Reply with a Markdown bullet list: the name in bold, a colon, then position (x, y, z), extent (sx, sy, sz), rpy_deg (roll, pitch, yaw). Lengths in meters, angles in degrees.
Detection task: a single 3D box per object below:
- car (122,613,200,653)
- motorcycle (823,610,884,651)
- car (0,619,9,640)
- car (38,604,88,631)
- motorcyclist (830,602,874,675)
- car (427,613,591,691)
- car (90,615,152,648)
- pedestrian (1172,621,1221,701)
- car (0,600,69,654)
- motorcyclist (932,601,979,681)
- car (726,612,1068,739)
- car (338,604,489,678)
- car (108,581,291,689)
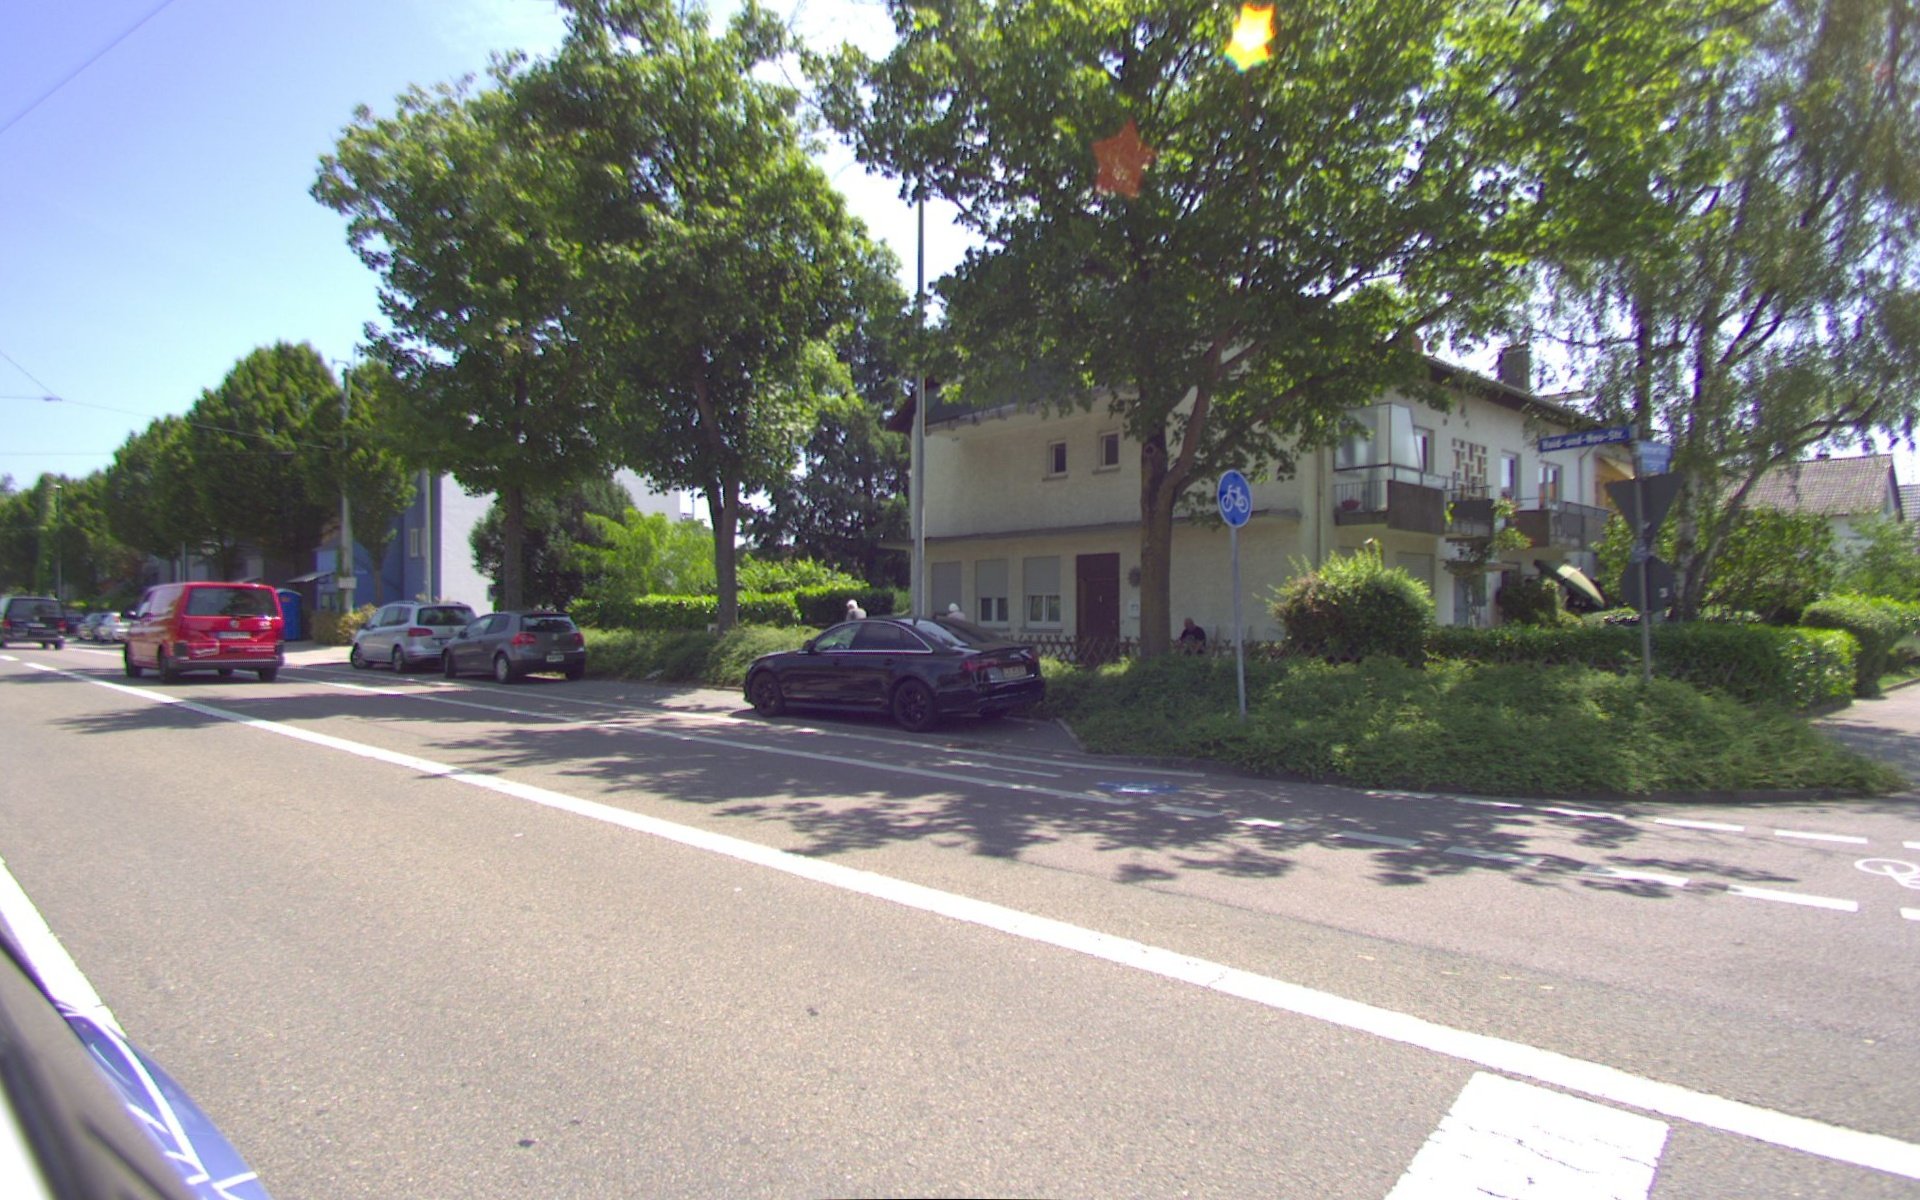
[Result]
- **car**: position (-34.194, 1.382, 43.275), extent (4.635, 1.507, 1.659), rpy_deg (-1, 2, 40)
- **motorcycle**: position (-2.321, 0.656, 21.915), extent (1.371, 0.832, 0.520), rpy_deg (-1, 1, 42)
- **car**: position (-71.814, 2.238, 74.788), extent (4.079, 1.507, 1.702), rpy_deg (-1, 2, 40)
- **car**: position (-54.078, 1.042, 60.995), extent (4.079, 1.507, 1.636), rpy_deg (-1, 2, 40)
- **motorcyclist**: position (-2.341, 0.824, 21.953), extent (0.725, 1.514, 0.580), rpy_deg (-1, 1, 42)
- **car**: position (-9.792, 1.043, 21.840), extent (4.126, 1.498, 1.659), rpy_deg (-1, 0, 41)
- **car**: position (-41.464, 1.523, 49.988), extent (3.646, 1.507, 1.636), rpy_deg (-1, 2, 40)
- **pedestrian**: position (4.677, 1.187, 20.002), extent (0.784, 1.522, 0.609), rpy_deg (1, -2, -42)
- **car**: position (-35.248, 1.013, 38.095), extent (4.568, 1.925, 1.898), rpy_deg (-1, -2, 41)
- **motorcyclist**: position (-0.097, 0.785, 19.770), extent (0.662, 1.514, 0.580), rpy_deg (-1, 1, 42)
- **car**: position (-1.014, 0.921, 14.196), extent (4.804, 1.467, 1.875), rpy_deg (-1, 0, 39)
- **car**: position (-13.875, 0.967, 25.593), extent (4.687, 1.701, 1.950), rpy_deg (-1, 0, 43)
- **car**: position (-15.572, 0.696, 20.632), extent (4.815, 1.941, 1.880), rpy_deg (-1, -3, 40)
